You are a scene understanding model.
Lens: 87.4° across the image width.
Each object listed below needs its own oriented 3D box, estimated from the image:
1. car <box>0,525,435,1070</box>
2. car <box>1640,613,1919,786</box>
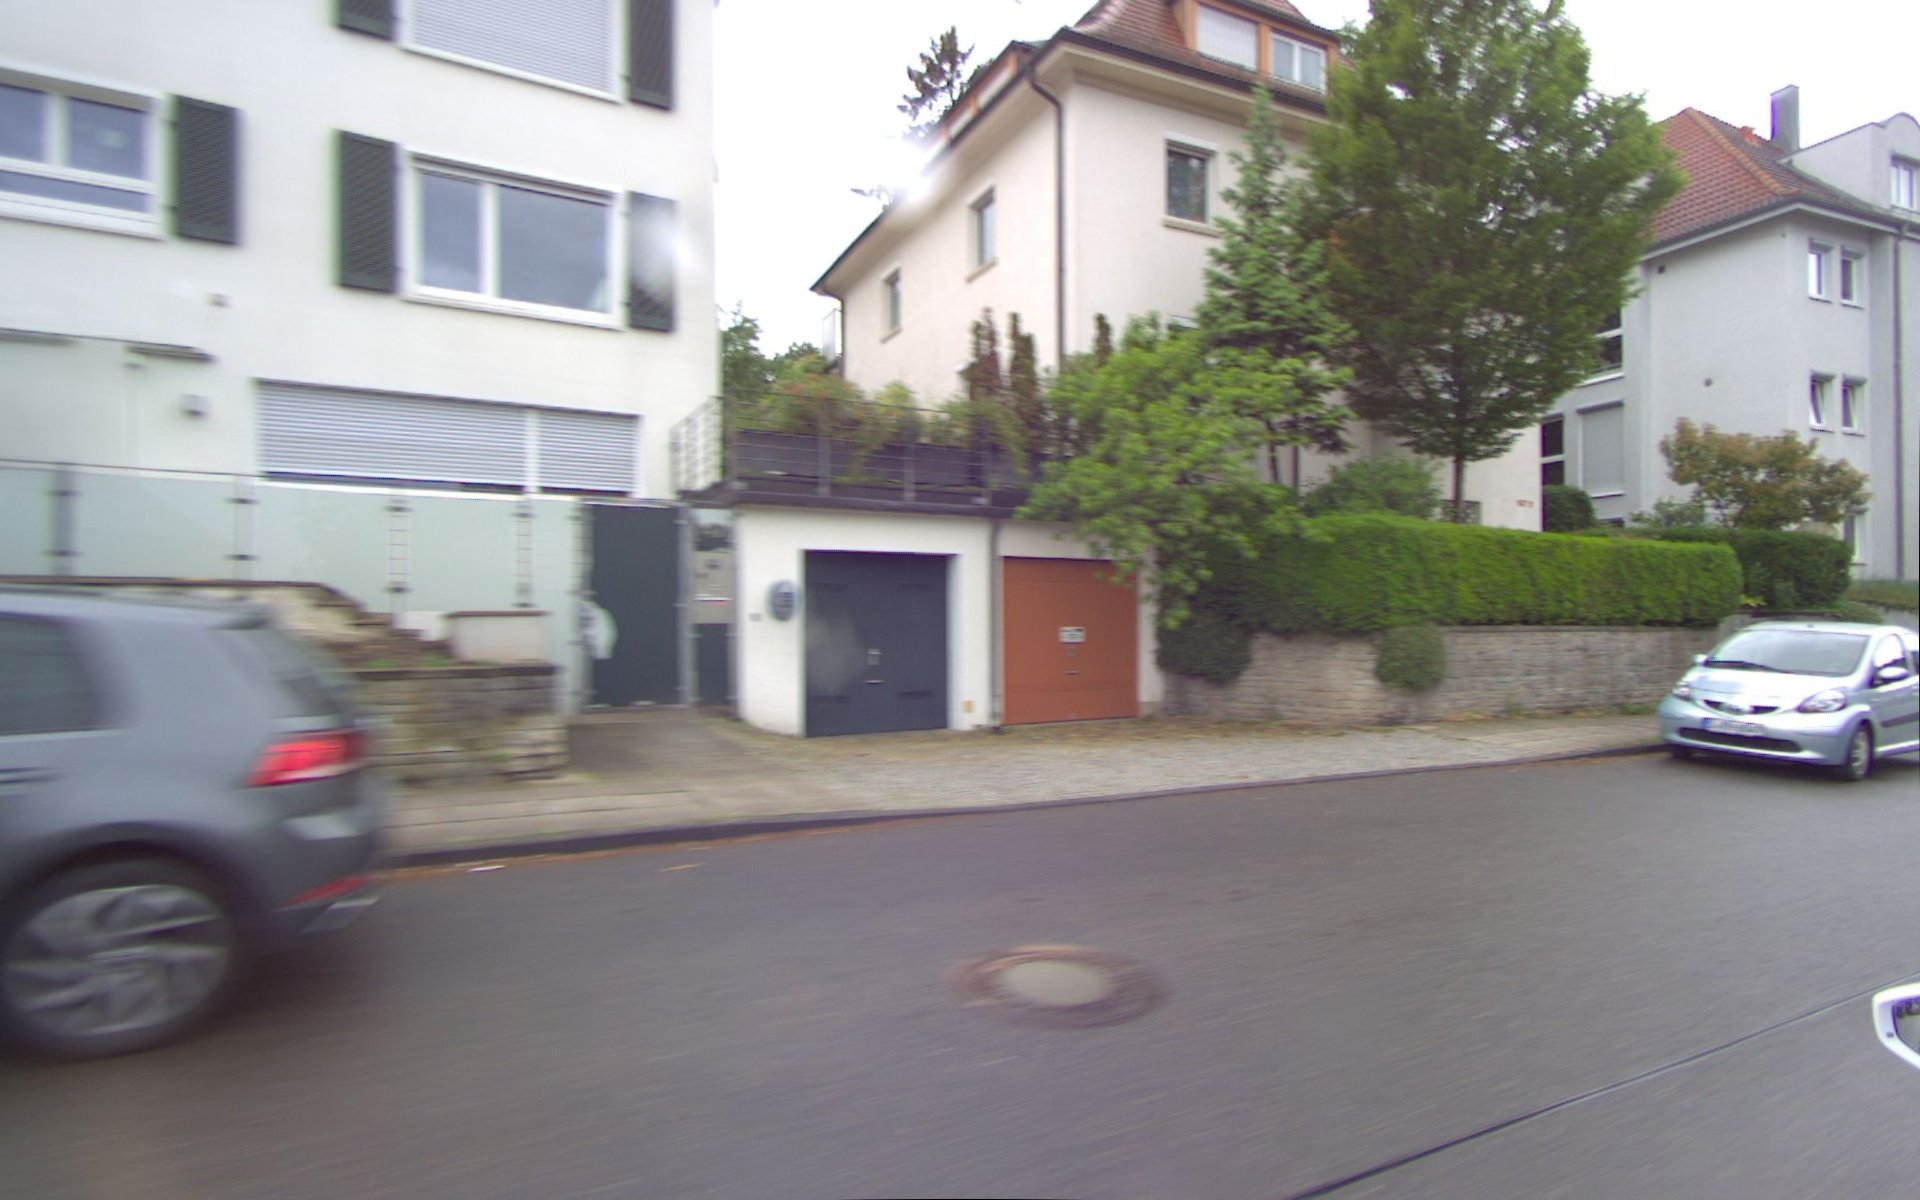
[{"bbox_3d":[-4.035,0.529,3.202,4.091,1.602,1.782,1,3,-32],"label":"car"},{"bbox_3d":[8.928,0.936,10.560,3.446,1.506,1.597,1,0,-30],"label":"car"}]
